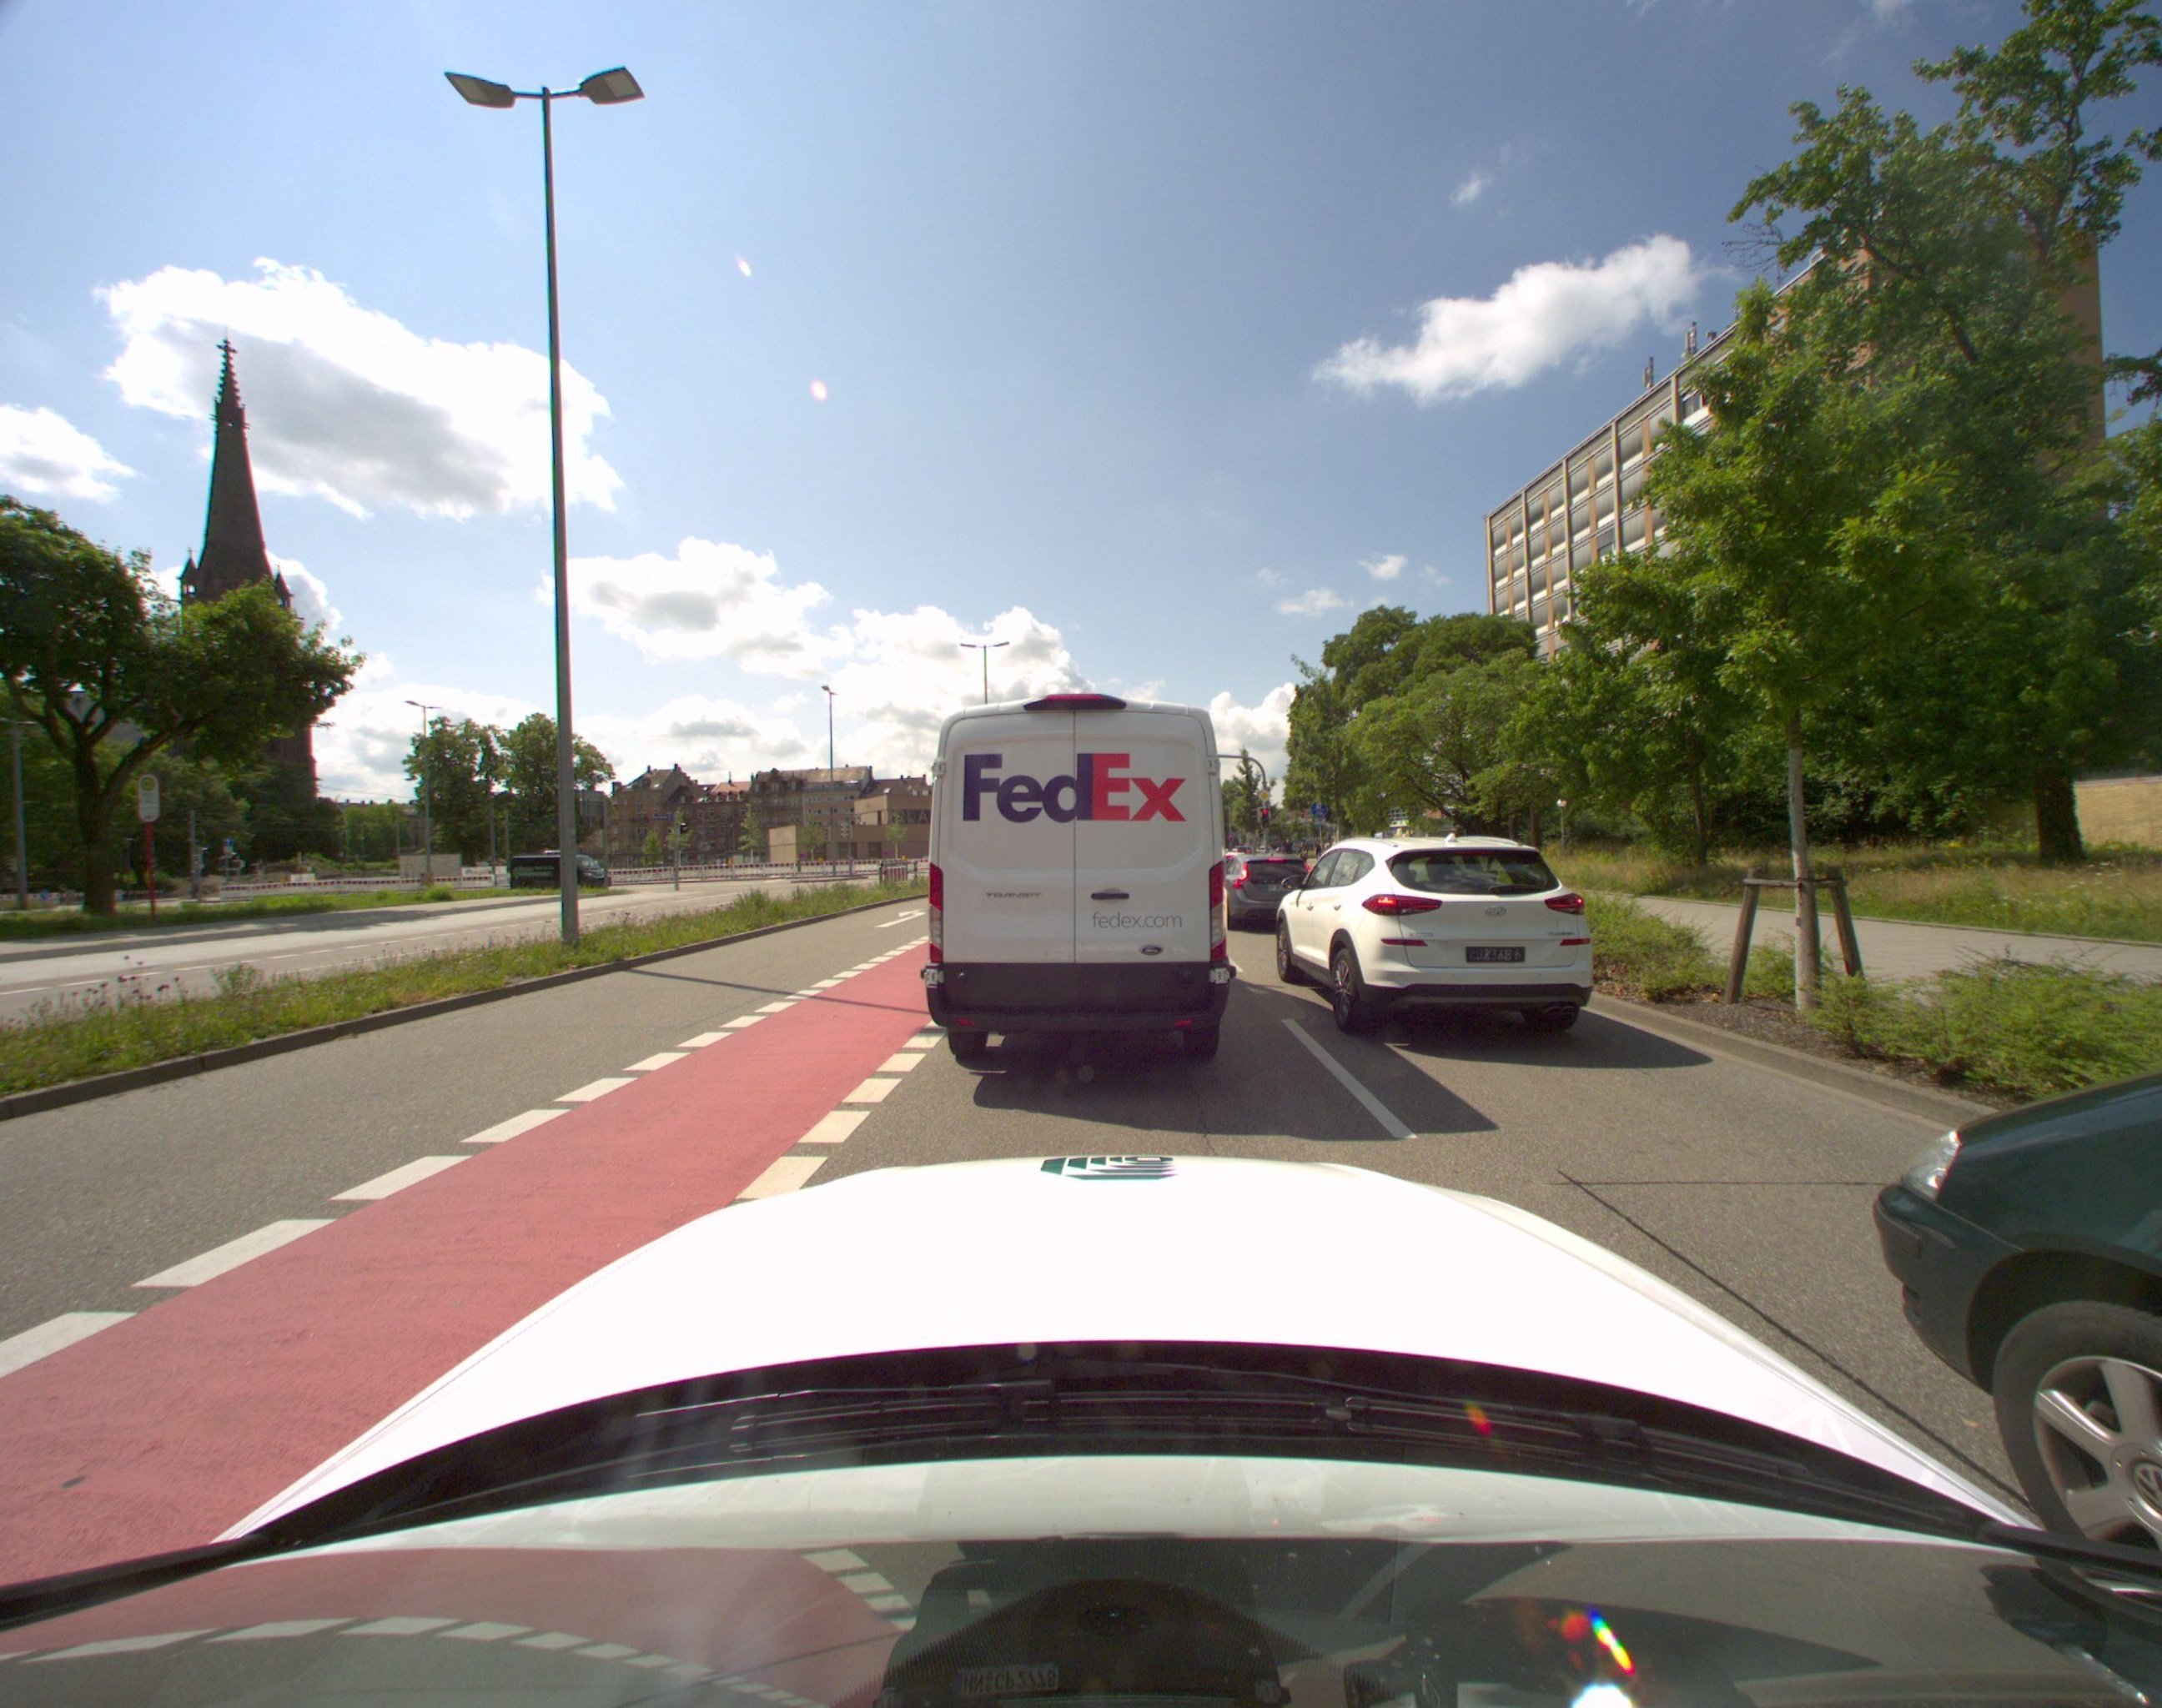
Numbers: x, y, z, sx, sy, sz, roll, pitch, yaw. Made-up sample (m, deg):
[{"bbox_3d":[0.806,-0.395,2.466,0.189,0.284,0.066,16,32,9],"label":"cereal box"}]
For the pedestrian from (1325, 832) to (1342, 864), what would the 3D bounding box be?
[{"bbox_3d":[16.755,-0.380,53.998,0.842,2.058,0.741,-2,0,1],"label":"pedestrian"}]

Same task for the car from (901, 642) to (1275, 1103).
[{"bbox_3d":[0.039,0.101,7.605,2.134,2.652,5.703,-1,0,0],"label":"car"}]

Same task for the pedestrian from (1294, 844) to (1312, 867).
[{"bbox_3d":[13.330,0.095,48.900,0.842,1.389,0.741,-2,0,1],"label":"pedestrian"}]

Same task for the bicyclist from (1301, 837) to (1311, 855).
[{"bbox_3d":[18.912,-0.647,68.459,0.547,1.474,0.972,-2,0,3],"label":"bicyclist"}]

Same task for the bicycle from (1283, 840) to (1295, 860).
[{"bbox_3d":[13.727,-0.299,53.682,0.597,1.290,2.081,-2,0,19],"label":"bicycle"}]

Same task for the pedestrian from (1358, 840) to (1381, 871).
[{"bbox_3d":[14.862,0.077,41.996,0.842,1.539,0.835,-2,0,1],"label":"pedestrian"}]

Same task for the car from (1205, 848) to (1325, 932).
[{"bbox_3d":[3.623,0.644,16.644,1.790,1.461,3.842,-2,0,4],"label":"car"}]

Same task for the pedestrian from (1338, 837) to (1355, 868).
[{"bbox_3d":[17.735,-0.082,54.386,0.842,2.013,0.741,-2,0,1],"label":"pedestrian"}]

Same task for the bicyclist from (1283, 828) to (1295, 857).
[{"bbox_3d":[13.709,-0.759,53.650,0.586,1.844,1.128,-2,1,19],"label":"bicyclist"}]

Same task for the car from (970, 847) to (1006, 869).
[{"bbox_3d":[-8.978,0.354,78.967,1.978,2.014,4.017,-2,0,16],"label":"car"}]

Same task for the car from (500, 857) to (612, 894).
[{"bbox_3d":[-29.667,1.204,46.147,4.995,1.879,1.928,-2,0,-2],"label":"car"}]

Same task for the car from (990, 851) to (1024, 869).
[{"bbox_3d":[-7.007,0.569,77.532,1.886,1.585,4.017,-2,0,16],"label":"car"}]

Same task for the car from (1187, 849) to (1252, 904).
[{"bbox_3d":[3.905,0.581,23.371,1.478,1.428,3.436,-2,0,4],"label":"car"}]

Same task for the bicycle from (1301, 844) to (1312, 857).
[{"bbox_3d":[18.930,-0.303,68.474,0.543,1.030,1.929,-2,0,5],"label":"bicycle"}]

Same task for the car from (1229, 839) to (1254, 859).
[{"bbox_3d":[17.512,-0.556,88.756,2.076,2.014,4.665,-2,0,18],"label":"car"}]

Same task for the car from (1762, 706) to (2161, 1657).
[{"bbox_3d":[2.823,0.597,0.159,1.805,1.734,4.390,-1,0,2],"label":"car"}]

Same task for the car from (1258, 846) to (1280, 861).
[{"bbox_3d":[23.851,-0.073,102.985,1.976,1.794,4.395,-2,0,22],"label":"car"}]

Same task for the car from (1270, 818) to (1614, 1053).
[{"bbox_3d":[3.105,0.588,7.984,1.790,1.687,4.004,-2,0,4],"label":"car"}]
